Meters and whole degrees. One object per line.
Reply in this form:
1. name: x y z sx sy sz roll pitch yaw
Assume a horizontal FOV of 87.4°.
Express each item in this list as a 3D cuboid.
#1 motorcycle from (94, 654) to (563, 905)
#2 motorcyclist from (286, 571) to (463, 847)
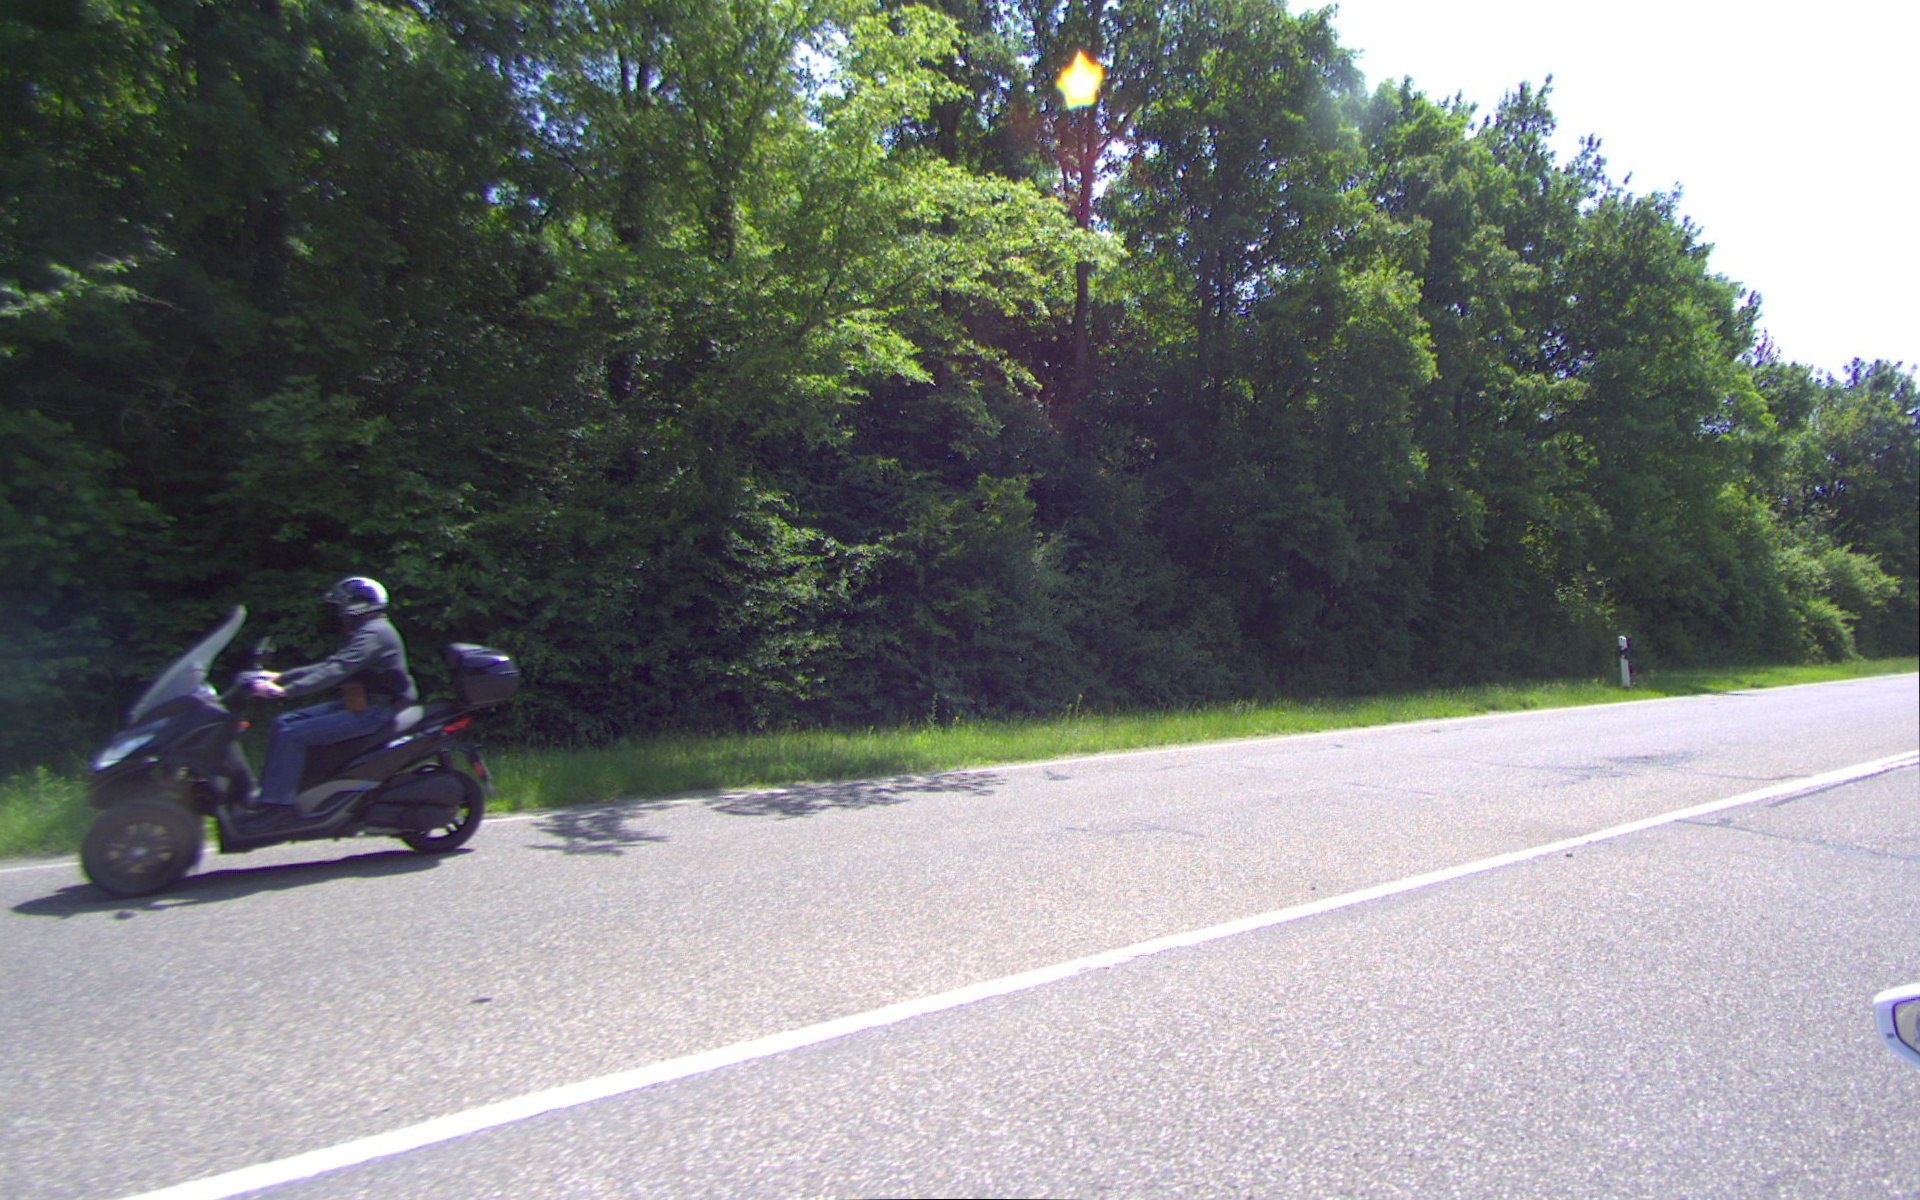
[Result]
1. motorcycle: -3.576 0.934 5.894 2.211 1.190 0.665 2 -1 -38
2. motorcyclist: -3.480 0.600 5.969 0.807 1.495 0.665 1 -1 -38
